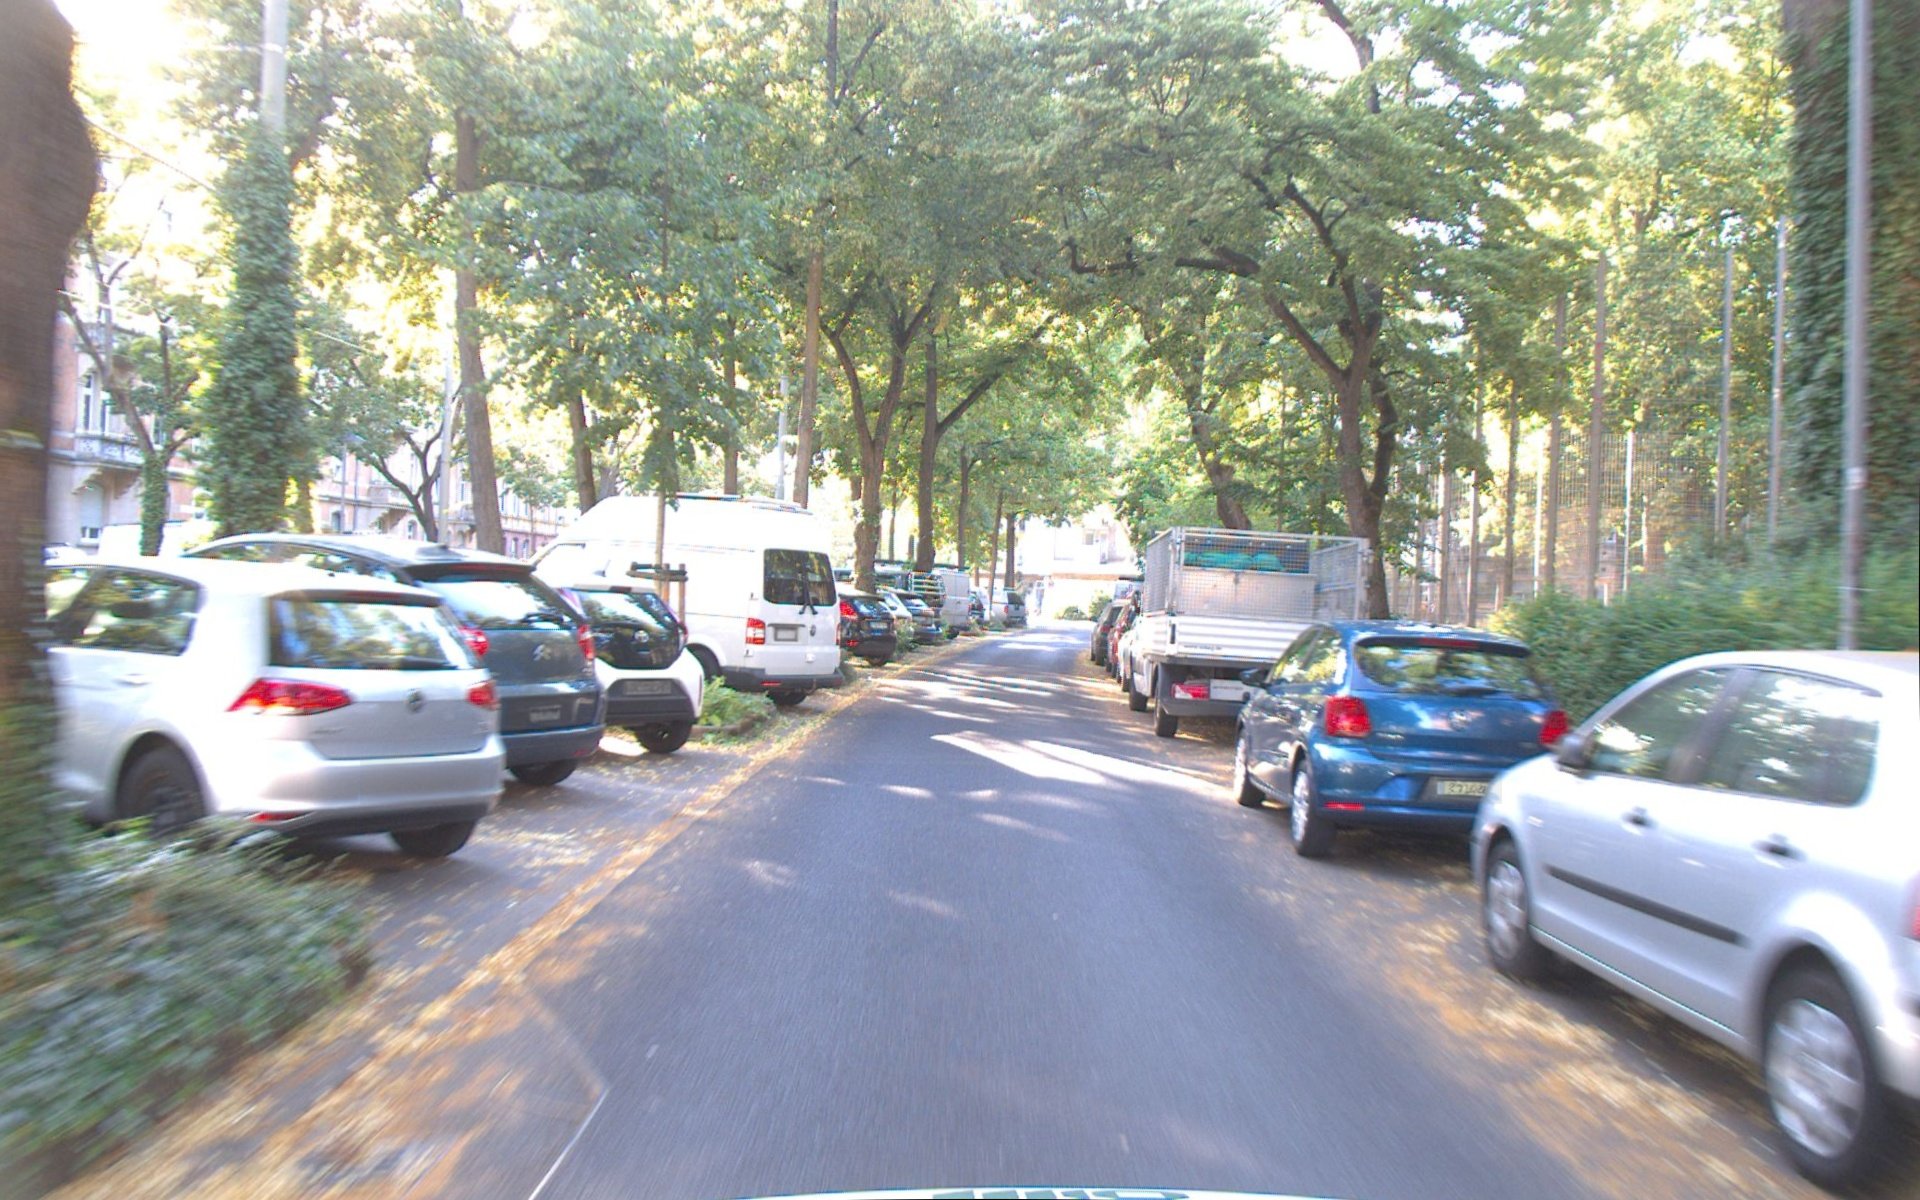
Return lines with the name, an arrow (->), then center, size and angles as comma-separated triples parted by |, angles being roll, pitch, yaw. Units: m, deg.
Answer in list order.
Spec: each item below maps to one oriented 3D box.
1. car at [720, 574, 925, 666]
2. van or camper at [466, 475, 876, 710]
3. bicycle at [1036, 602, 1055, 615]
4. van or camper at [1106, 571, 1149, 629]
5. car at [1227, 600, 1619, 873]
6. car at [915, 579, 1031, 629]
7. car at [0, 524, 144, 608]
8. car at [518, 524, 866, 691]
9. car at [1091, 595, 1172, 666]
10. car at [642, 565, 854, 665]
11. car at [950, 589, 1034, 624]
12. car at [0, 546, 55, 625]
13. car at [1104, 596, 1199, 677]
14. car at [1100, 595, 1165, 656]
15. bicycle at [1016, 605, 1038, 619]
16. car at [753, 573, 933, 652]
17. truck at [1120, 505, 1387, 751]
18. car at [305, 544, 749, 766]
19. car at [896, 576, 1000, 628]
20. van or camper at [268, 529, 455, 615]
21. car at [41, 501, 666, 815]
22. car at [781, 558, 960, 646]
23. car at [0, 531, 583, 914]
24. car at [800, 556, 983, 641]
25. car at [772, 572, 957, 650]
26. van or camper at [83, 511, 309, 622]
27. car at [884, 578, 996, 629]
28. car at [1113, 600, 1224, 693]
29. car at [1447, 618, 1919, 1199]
car -> -2.749, 0.380, 32.795 | 3.753, 1.463, 1.817 | 5, 0, 39
van or camper -> -3.681, -0.138, 20.840 | 4.783, 2.513, 2.040 | 5, 0, 31
bicycle -> 6.366, 0.648, 122.840 | 0.536, 0.920, 1.719 | 2, 0, -29
van or camper -> 8.641, 0.012, 85.242 | 2.040, 2.810, 5.849 | 2, 0, 6
car -> 2.959, 0.777, 11.393 | 1.638, 1.484, 3.894 | 2, 0, 1
car -> 0.565, 0.161, 75.381 | 4.899, 1.812, 1.982 | 5, 0, 33
car -> -18.708, -0.676, 33.862 | 4.240, 1.610, 1.899 | 1, 0, 37
car -> -3.961, 0.082, 24.161 | 4.786, 2.012, 2.039 | 5, 0, 33
car -> 3.934, 0.669, 38.417 | 1.637, 1.479, 3.951 | 2, 0, 3
car -> -3.934, 0.269, 30.582 | 3.478, 1.519, 1.820 | 5, 0, 33
car -> 1.733, 0.352, 90.103 | 4.111, 1.463, 1.828 | 5, 0, 30
car -> -19.139, -0.224, 31.341 | 4.238, 1.409, 1.899 | -2, -1, 36
car -> 3.842, 0.695, 33.683 | 1.637, 1.479, 3.951 | 2, 0, 3
car -> 4.551, 0.652, 43.948 | 1.557, 1.479, 3.556 | 2, 0, 4
bicycle -> 5.058, 0.917, 124.758 | 0.631, 1.040, 2.069 | 2, 0, -28
car -> -2.828, 0.280, 39.558 | 4.013, 1.513, 1.777 | 5, 0, 36
truck -> 3.339, 0.280, 20.430 | 2.248, 2.428, 6.936 | 2, 0, 2
car -> -3.806, 0.430, 14.448 | 3.478, 1.519, 1.820 | 5, 0, 33
car -> -0.525, 0.090, 69.450 | 4.087, 1.812, 1.873 | 5, 0, 41
van or camper -> -17.697, -0.818, 48.840 | 5.433, 2.412, 2.302 | 1, 0, 32
car -> -4.302, 0.329, 11.702 | 3.950, 1.691, 1.855 | 5, 0, 27
car -> -2.462, 0.035, 45.037 | 4.624, 1.976, 1.926 | 5, 0, 38
car -> -4.256, 0.463, 8.797 | 4.153, 1.465, 1.853 | 5, 0, 30
car -> -2.164, -0.068, 51.384 | 5.404, 2.173, 2.074 | 5, 0, 34
car -> -2.475, 0.259, 42.267 | 4.485, 1.567, 1.926 | 5, 0, 38
van or camper -> -18.322, -0.807, 39.595 | 5.551, 2.511, 1.997 | 1, 0, 29
car -> -0.814, 0.124, 66.238 | 4.080, 1.672, 1.907 | 5, 0, 37
car -> 3.536, 0.736, 28.646 | 1.637, 1.422, 4.301 | 2, 0, 4
car -> 3.158, 0.868, 5.840 | 1.638, 1.484, 3.893 | 2, 0, -1
